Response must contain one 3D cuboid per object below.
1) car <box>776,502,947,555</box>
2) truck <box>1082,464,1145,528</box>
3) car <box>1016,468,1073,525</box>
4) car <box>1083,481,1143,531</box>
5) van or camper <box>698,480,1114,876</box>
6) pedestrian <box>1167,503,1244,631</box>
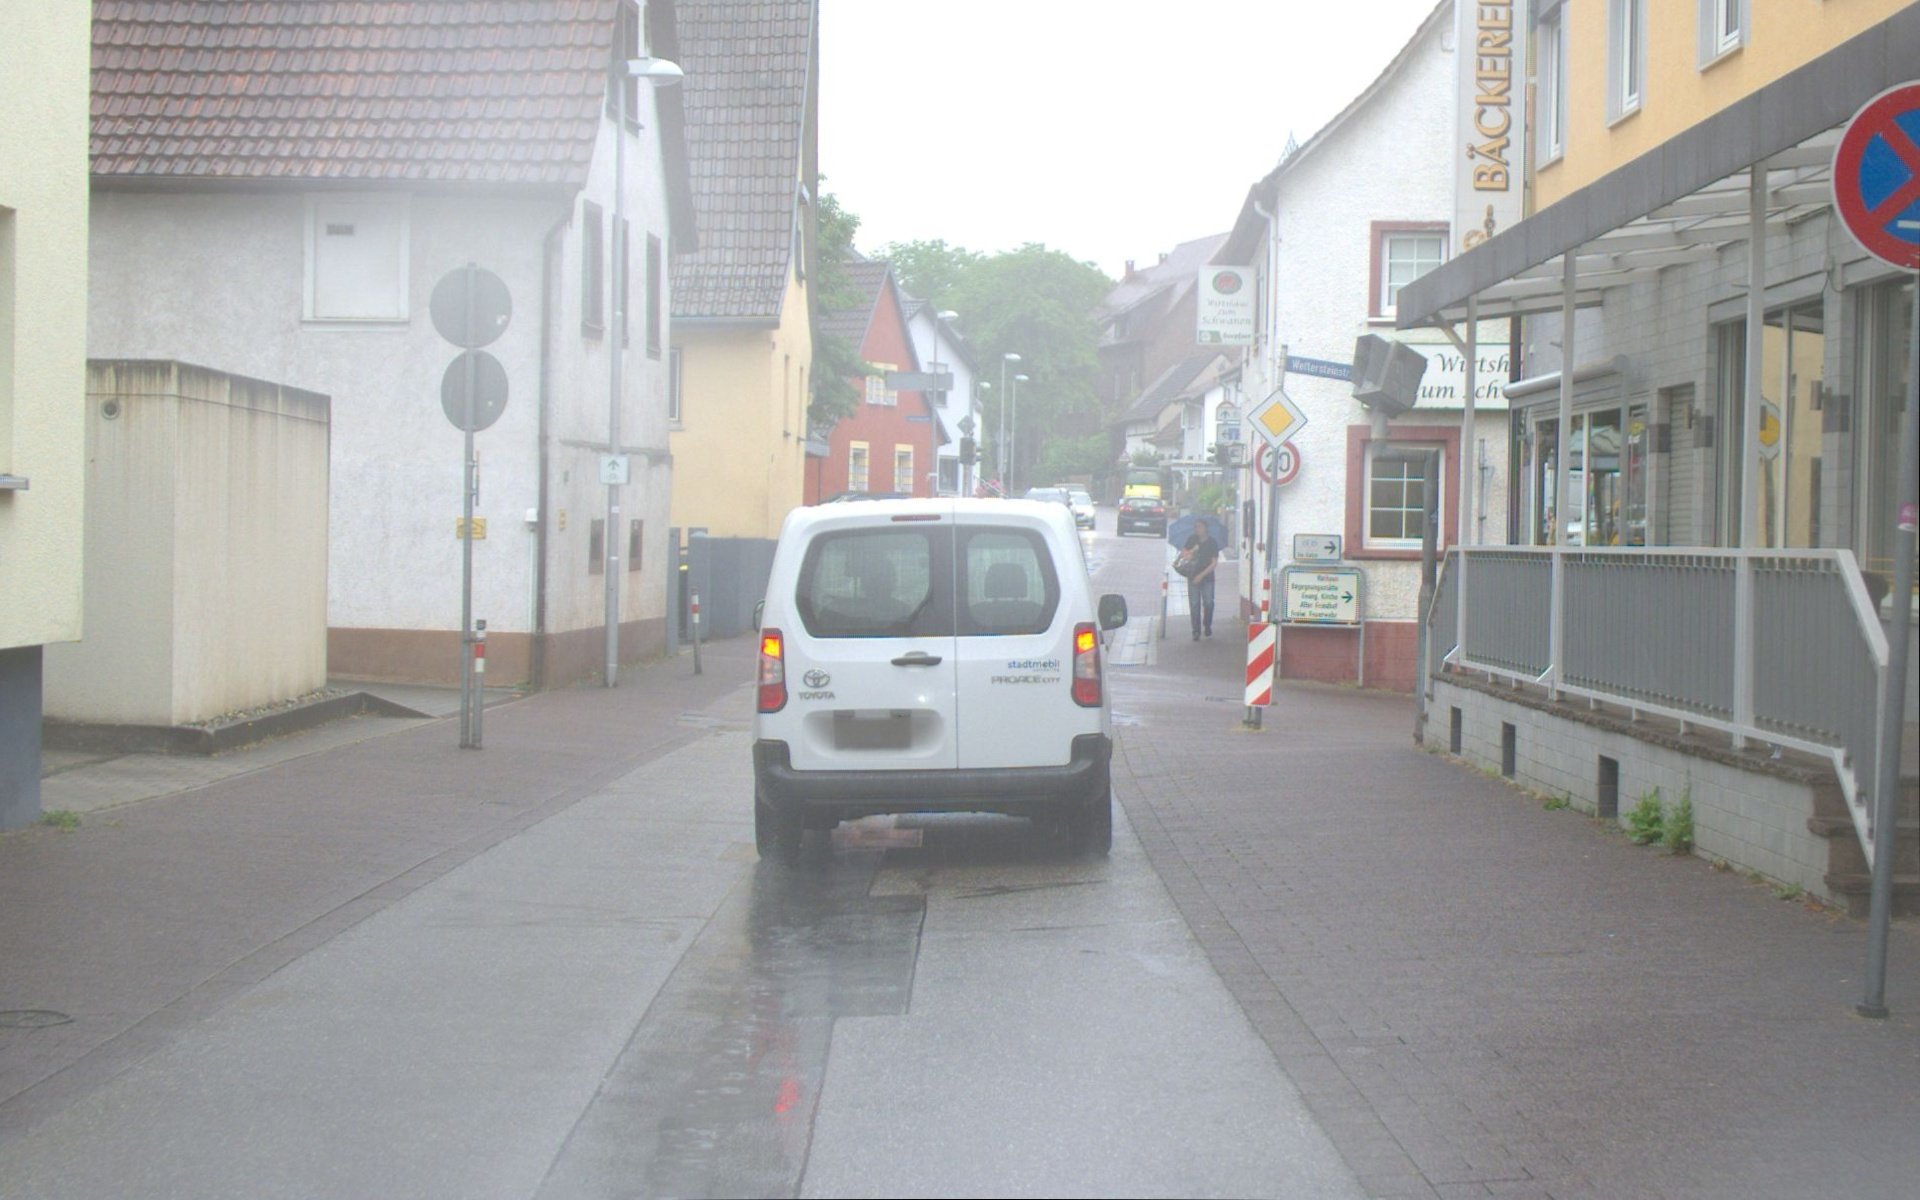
[{"bbox_3d":[-2.575,-1.866,90.091,3.987,1.368,2.111,0,1,-34],"label":"car"},{"bbox_3d":[6.026,-4.077,135.327,2.350,2.417,4.949,1,1,1],"label":"truck"},{"bbox_3d":[2.790,-3.431,113.289,1.812,1.773,4.018,1,3,2],"label":"car"},{"bbox_3d":[5.406,-3.323,121.613,1.993,1.741,4.000,1,1,1],"label":"car"},{"bbox_3d":[-0.241,0.347,18.389,1.943,1.845,4.000,1,1,1],"label":"van or camper"},{"bbox_3d":[3.443,-0.473,48.142,0.994,1.730,0.811,1,4,7],"label":"pedestrian"}]
